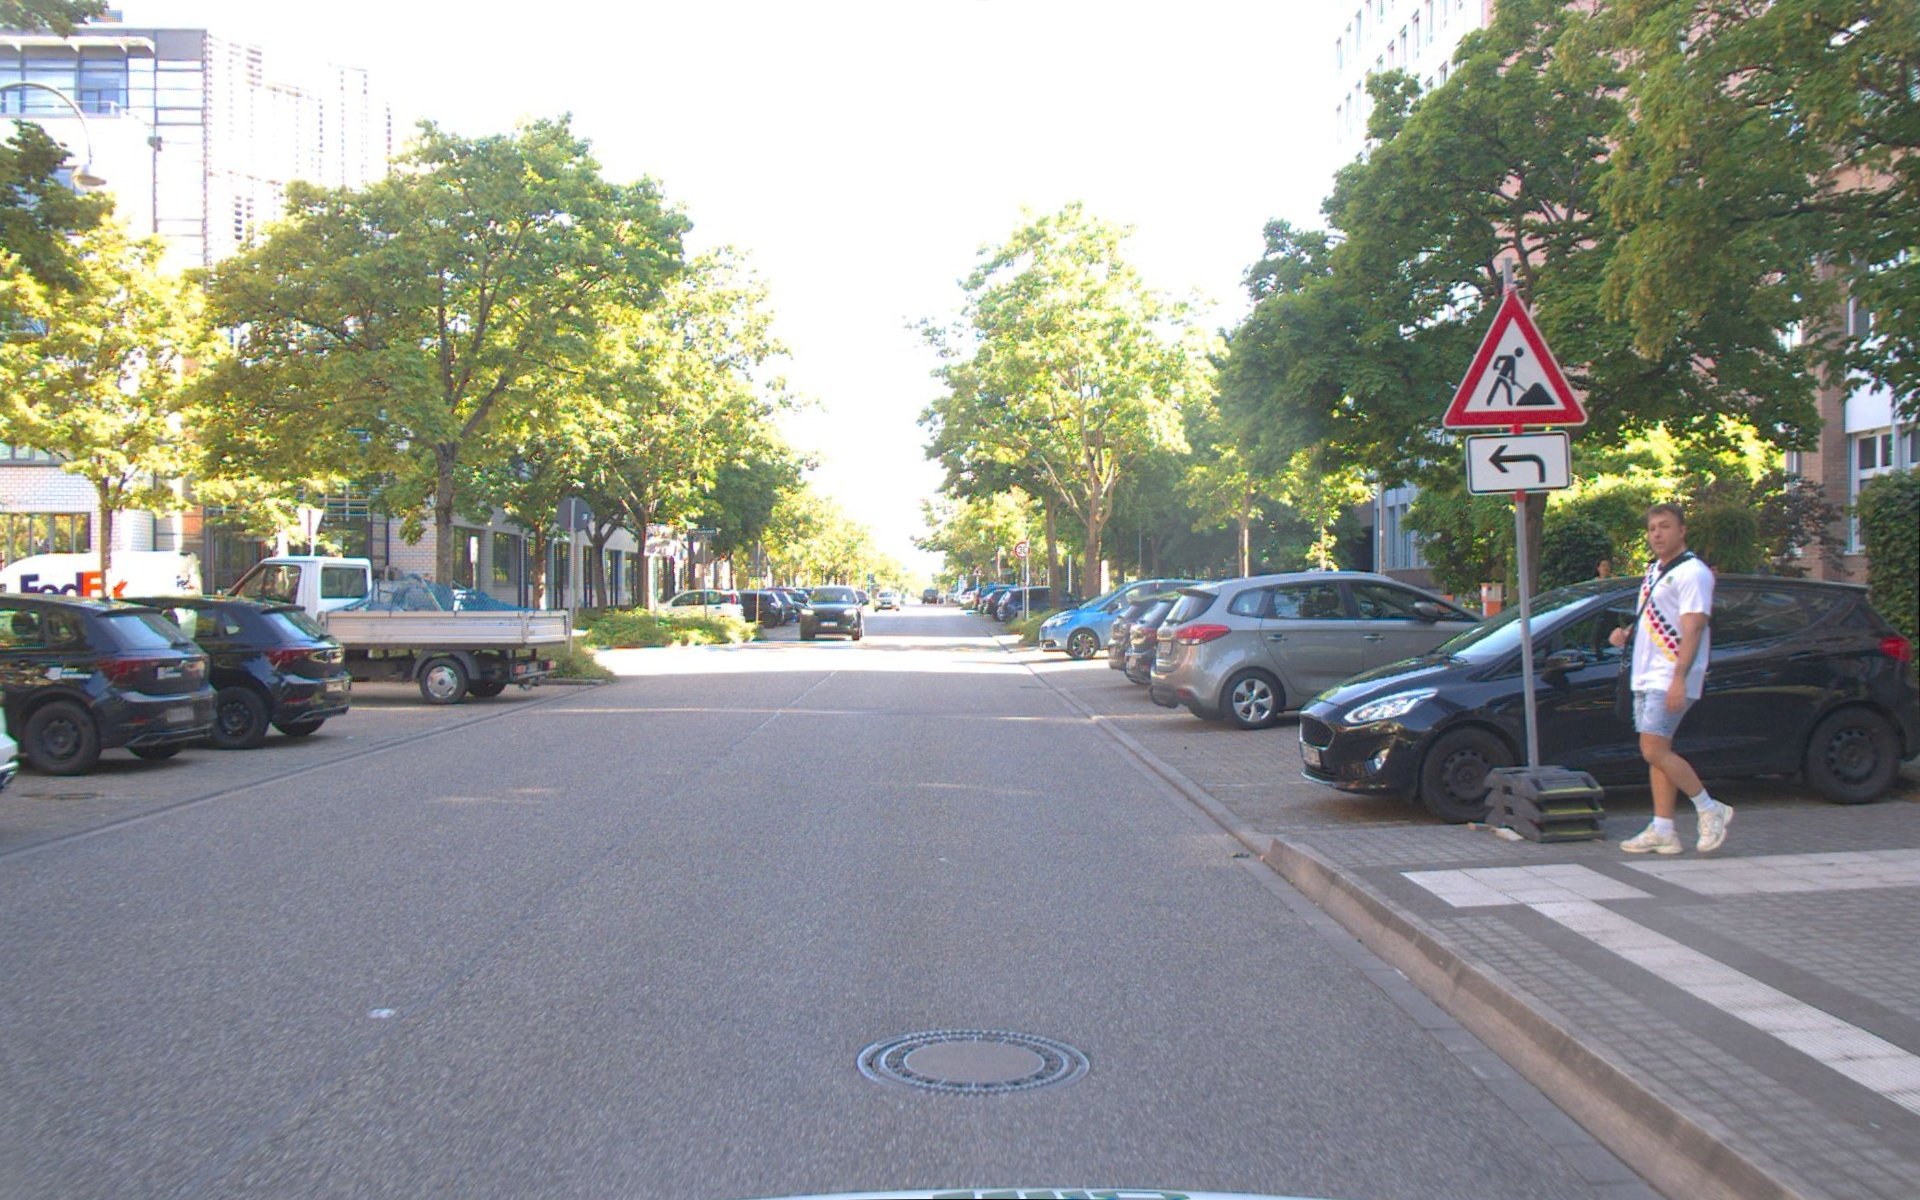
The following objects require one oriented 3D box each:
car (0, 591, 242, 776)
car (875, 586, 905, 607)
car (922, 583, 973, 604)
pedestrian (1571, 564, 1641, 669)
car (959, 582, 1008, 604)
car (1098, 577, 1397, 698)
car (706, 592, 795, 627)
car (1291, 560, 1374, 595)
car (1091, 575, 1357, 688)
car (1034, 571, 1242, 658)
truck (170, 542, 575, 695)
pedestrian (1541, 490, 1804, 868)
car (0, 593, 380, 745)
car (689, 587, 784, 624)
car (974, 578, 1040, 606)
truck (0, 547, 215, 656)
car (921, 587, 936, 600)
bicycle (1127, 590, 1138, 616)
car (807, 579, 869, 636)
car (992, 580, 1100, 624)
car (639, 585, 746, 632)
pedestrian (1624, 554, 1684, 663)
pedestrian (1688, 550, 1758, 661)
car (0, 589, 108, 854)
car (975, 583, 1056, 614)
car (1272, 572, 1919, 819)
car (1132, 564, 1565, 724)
[{"bbox_3d":[-8.521,0.682,14.217,3.906,1.460,1.722,-1,1,-1],"label":"car"},{"bbox_3d":[-4.916,-0.282,116.672,1.775,1.440,4.109,0,0,2],"label":"car"},{"bbox_3d":[-0.996,-0.507,131.396,3.910,1.653,1.997,0,0,-6],"label":"car"},{"bbox_3d":[9.307,0.234,23.842,0.686,1.483,0.715,-1,0,-4],"label":"pedestrian"},{"bbox_3d":[1.950,-0.588,138.112,3.910,1.823,1.997,0,0,-6],"label":"car"},{"bbox_3d":[3.943,0.485,22.997,3.727,1.433,1.700,-3,1,-6],"label":"car"},{"bbox_3d":[-9.047,0.411,71.659,3.657,1.489,1.676,0,0,-2],"label":"car"},{"bbox_3d":[20.391,-1.226,90.607,3.992,1.814,1.998,1,0,-5],"label":"car"},{"bbox_3d":[4.033,0.459,25.733,3.769,1.509,1.824,-3,1,-2],"label":"car"},{"bbox_3d":[3.893,0.304,36.675,4.317,1.646,1.911,-3,0,-2],"label":"car"},{"bbox_3d":[-8.094,0.242,23.147,4.882,1.993,2.138,0,0,1],"label":"truck"},{"bbox_3d":[3.534,0.365,8.243,0.902,1.740,0.695,-4,1,-14],"label":"pedestrian"},{"bbox_3d":[-8.205,0.662,16.883,3.903,1.460,1.790,0,0,3],"label":"car"},{"bbox_3d":[-9.046,0.210,67.195,3.657,1.489,1.676,0,0,-2],"label":"car"},{"bbox_3d":[2.772,-0.475,98.287,3.814,1.685,1.857,0,0,-2],"label":"car"},{"bbox_3d":[-23.371,0.038,43.883,5.983,2.752,2.576,-1,0,-4],"label":"truck"},{"bbox_3d":[-4.063,-0.887,211.217,1.894,1.625,4.365,-1,0,-1],"label":"car"},{"bbox_3d":[7.426,0.125,71.234,0.371,1.065,1.886,-2,0,4],"label":"bicycle"},{"bbox_3d":[-3.832,0.214,52.408,1.854,1.713,4.350,-1,0,-3],"label":"car"},{"bbox_3d":[3.450,0.084,66.825,4.183,1.662,1.857,-1,0,-4],"label":"car"},{"bbox_3d":[-9.279,0.295,57.526,3.509,1.577,1.636,0,-3,-4],"label":"car"},{"bbox_3d":[10.067,0.116,23.995,0.590,1.547,0.594,-1,0,-4],"label":"pedestrian"},{"bbox_3d":[11.068,0.072,24.002,0.741,1.579,0.559,-1,0,-4],"label":"pedestrian"},{"bbox_3d":[-7.660,0.644,9.547,4.450,1.467,1.889,1,1,-3],"label":"car"},{"bbox_3d":[2.861,-0.084,85.847,3.966,1.517,1.548,-2,0,-6],"label":"car"},{"bbox_3d":[4.196,0.571,11.030,3.856,1.464,1.773,-1,0,-3],"label":"car"},{"bbox_3d":[4.201,0.441,18.263,4.269,1.625,1.936,-1,0,-8],"label":"car"}]
